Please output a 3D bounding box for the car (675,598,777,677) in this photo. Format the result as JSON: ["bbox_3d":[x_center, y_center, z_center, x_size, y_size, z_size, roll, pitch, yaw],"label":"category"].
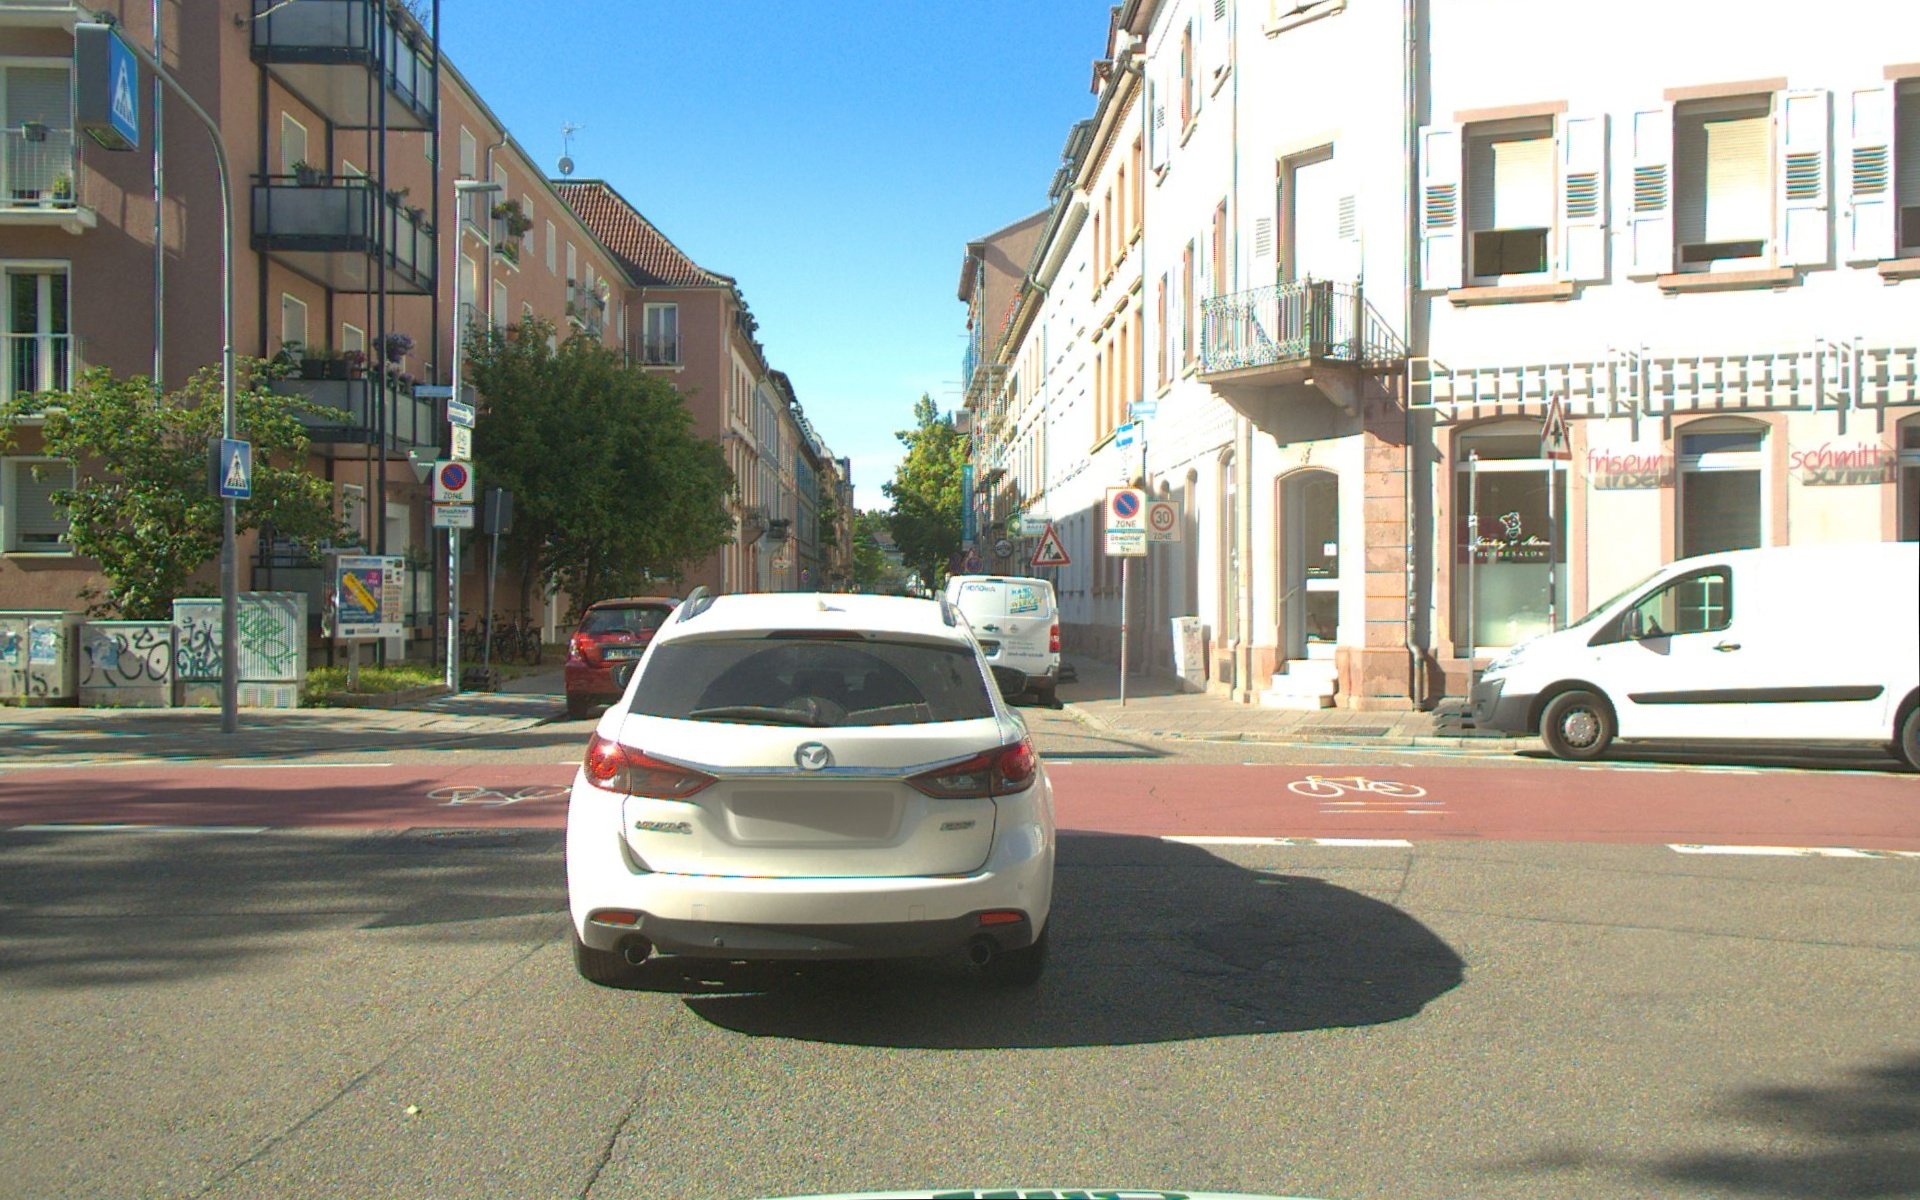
[{"bbox_3d":[-4.753,0.722,34.030,1.620,1.526,3.762,0,0,-1],"label":"car"}]

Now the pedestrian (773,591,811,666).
[{"bbox_3d":[-3.756,0.623,36.897,0.720,1.642,0.813,-1,0,-14],"label":"pedestrian"}]

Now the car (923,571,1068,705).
[{"bbox_3d":[0.467,0.558,26.679,1.857,1.891,5.010,2,0,-4],"label":"car"}]

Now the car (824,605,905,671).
[{"bbox_3d":[-2.165,0.835,38.591,1.725,1.434,4.326,0,0,-1],"label":"car"}]

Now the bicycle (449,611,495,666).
[{"bbox_3d":[-9.864,0.762,33.425,1.193,1.091,0.265,0,0,38],"label":"bicycle"}]

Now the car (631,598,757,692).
[{"bbox_3d":[-4.589,0.725,28.983,1.620,1.526,4.078,0,0,-1],"label":"car"}]

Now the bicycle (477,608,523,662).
[{"bbox_3d":[-9.465,0.713,33.989,1.193,1.090,0.252,0,0,38],"label":"bicycle"}]

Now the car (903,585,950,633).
[{"bbox_3d":[-1.369,0.364,67.819,1.856,1.892,3.993,0,0,-1],"label":"car"}]

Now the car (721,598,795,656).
[{"bbox_3d":[-5.469,0.703,45.107,1.620,1.526,3.762,0,0,-1],"label":"car"}]

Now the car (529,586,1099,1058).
[{"bbox_3d":[-0.499,0.686,7.203,1.794,1.482,3.961,0,0,-1],"label":"car"}]

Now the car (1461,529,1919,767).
[{"bbox_3d":[7.226,0.395,15.131,4.907,1.980,2.051,0,0,22],"label":"car"}]

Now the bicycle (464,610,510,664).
[{"bbox_3d":[-9.646,0.746,33.743,1.193,1.089,0.252,0,0,38],"label":"bicycle"}]

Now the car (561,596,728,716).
[{"bbox_3d":[-4.268,0.706,22.904,1.650,1.526,3.805,0,0,-1],"label":"car"}]

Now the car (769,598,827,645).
[{"bbox_3d":[-5.373,0.691,55.260,1.620,1.526,3.762,0,0,-1],"label":"car"}]

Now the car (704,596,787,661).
[{"bbox_3d":[-5.251,0.678,40.824,1.620,1.526,3.762,0,0,-1],"label":"car"}]

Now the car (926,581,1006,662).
[{"bbox_3d":[0.099,0.493,40.448,1.856,1.892,3.993,0,0,-1],"label":"car"}]

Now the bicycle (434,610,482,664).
[{"bbox_3d":[-10.077,0.728,33.169,1.193,1.053,0.290,0,0,38],"label":"bicycle"}]

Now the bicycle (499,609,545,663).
[{"bbox_3d":[-9.022,0.727,34.052,1.196,1.090,0.252,0,0,38],"label":"bicycle"}]
